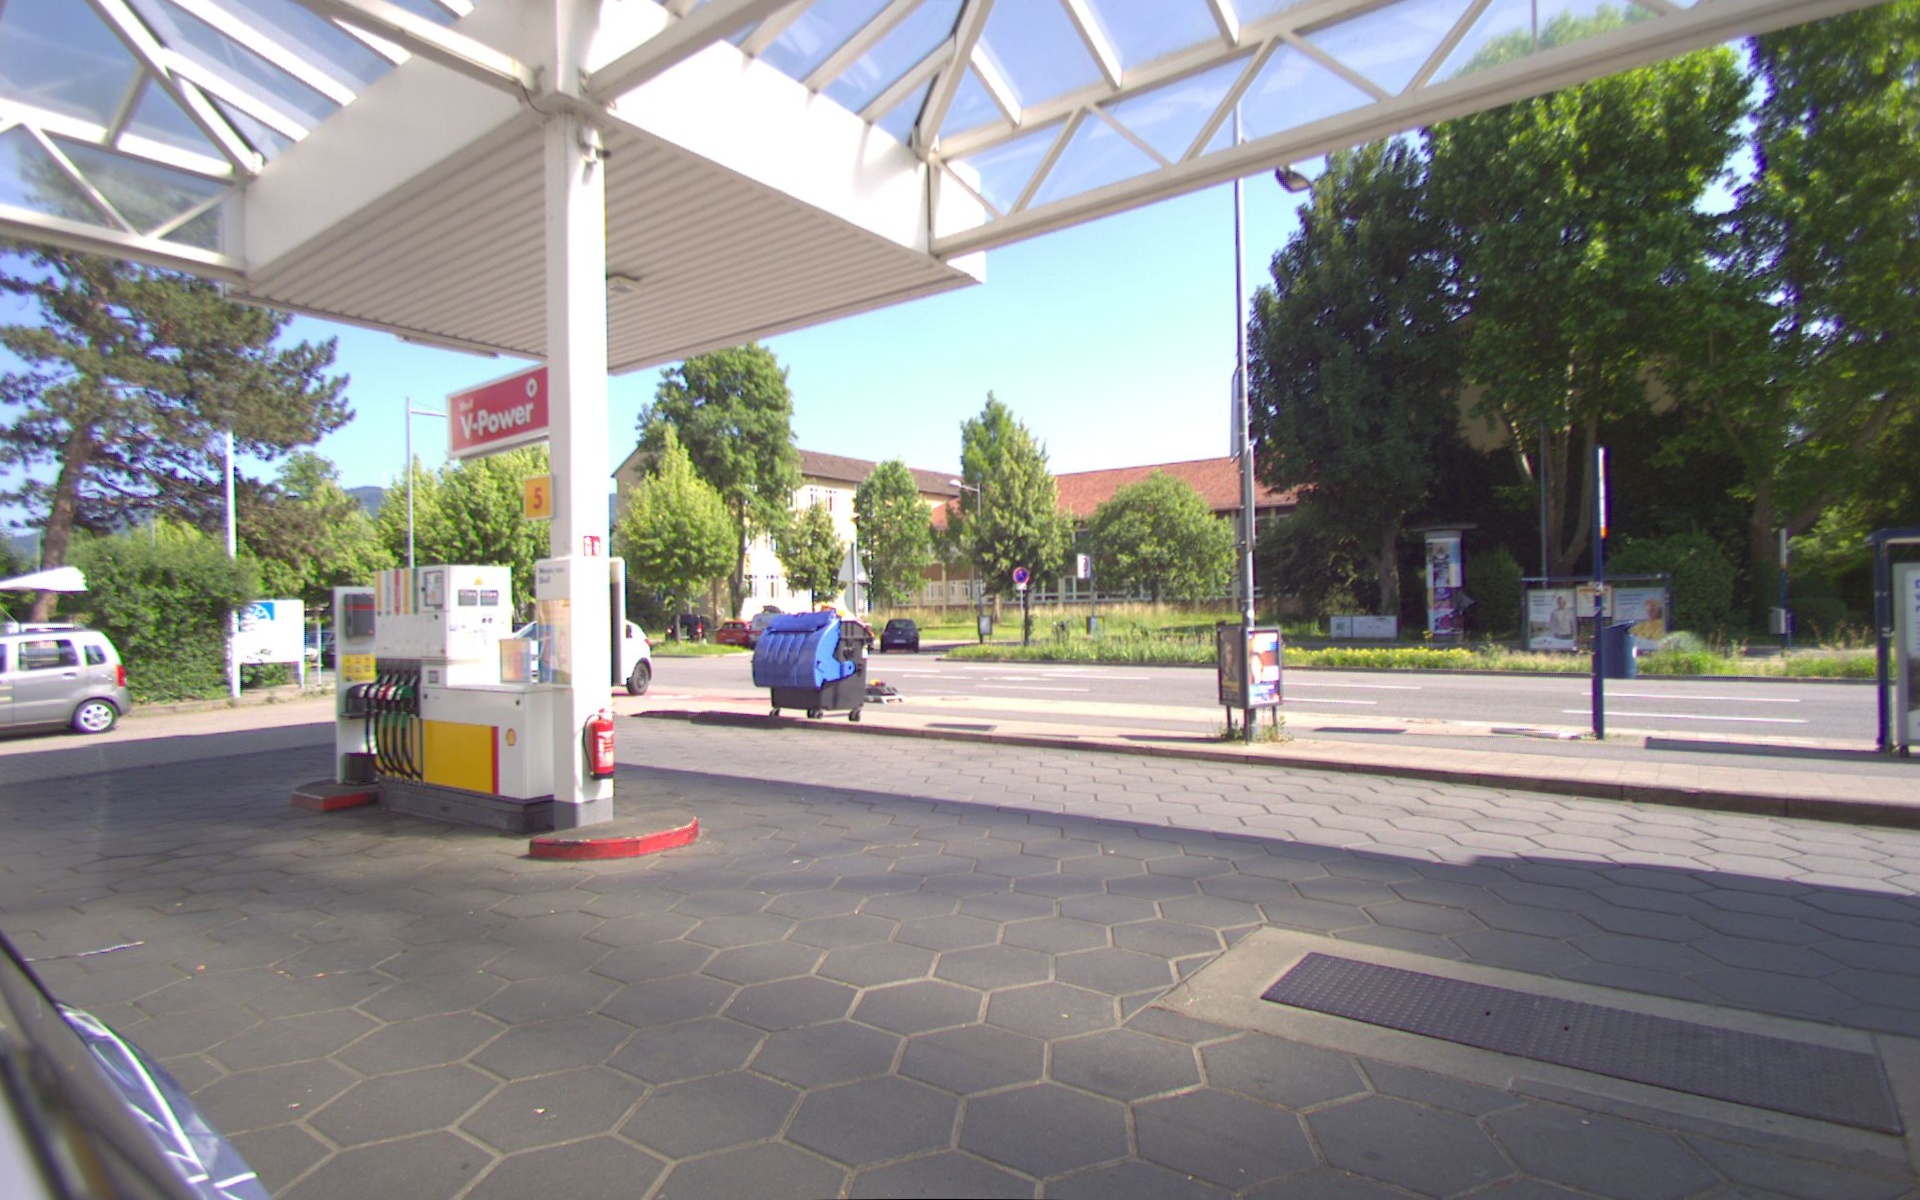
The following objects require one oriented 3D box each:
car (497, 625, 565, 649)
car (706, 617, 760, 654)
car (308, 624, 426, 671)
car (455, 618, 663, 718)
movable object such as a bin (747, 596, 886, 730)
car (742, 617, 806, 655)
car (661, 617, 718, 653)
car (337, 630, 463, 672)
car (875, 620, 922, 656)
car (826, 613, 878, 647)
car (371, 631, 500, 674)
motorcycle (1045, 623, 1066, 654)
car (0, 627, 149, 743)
[{"bbox_3d":[-26.340,2.260,62.186,1.866,1.401,3.703,0,-2,19],"label":"car"},{"bbox_3d":[-11.330,1.780,50.793,1.854,1.735,4.227,0,-2,-2],"label":"car"},{"bbox_3d":[-22.711,1.786,38.956,1.683,1.733,4.397,0,-2,5],"label":"car"},{"bbox_3d":[-7.778,1.252,20.140,1.939,1.719,4.295,-2,-1,9],"label":"car"},{"bbox_3d":[-1.957,0.845,13.860,1.335,1.701,1.325,-2,-3,38],"label":"movable object such as a bin"},{"bbox_3d":[-8.954,1.735,49.096,1.859,1.735,4.215,0,-2,8],"label":"car"},{"bbox_3d":[-13.536,1.764,50.819,1.854,1.735,4.227,0,-2,-2],"label":"car"},{"bbox_3d":[-20.688,1.863,37.601,1.861,1.493,4.212,-1,-2,10],"label":"car"},{"bbox_3d":[-2.635,1.674,44.332,1.718,1.471,4.224,0,-2,1],"label":"car"},{"bbox_3d":[-4.937,1.390,46.754,1.855,1.471,4.224,0,-2,1],"label":"car"},{"bbox_3d":[-18.400,1.830,35.761,1.861,1.428,4.212,-1,-2,10],"label":"car"},{"bbox_3d":[3.719,1.484,39.221,0.552,1.122,1.751,-1,-1,13],"label":"motorcycle"},{"bbox_3d":[-14.886,1.320,15.442,1.690,1.629,3.615,-2,0,38],"label":"car"}]
